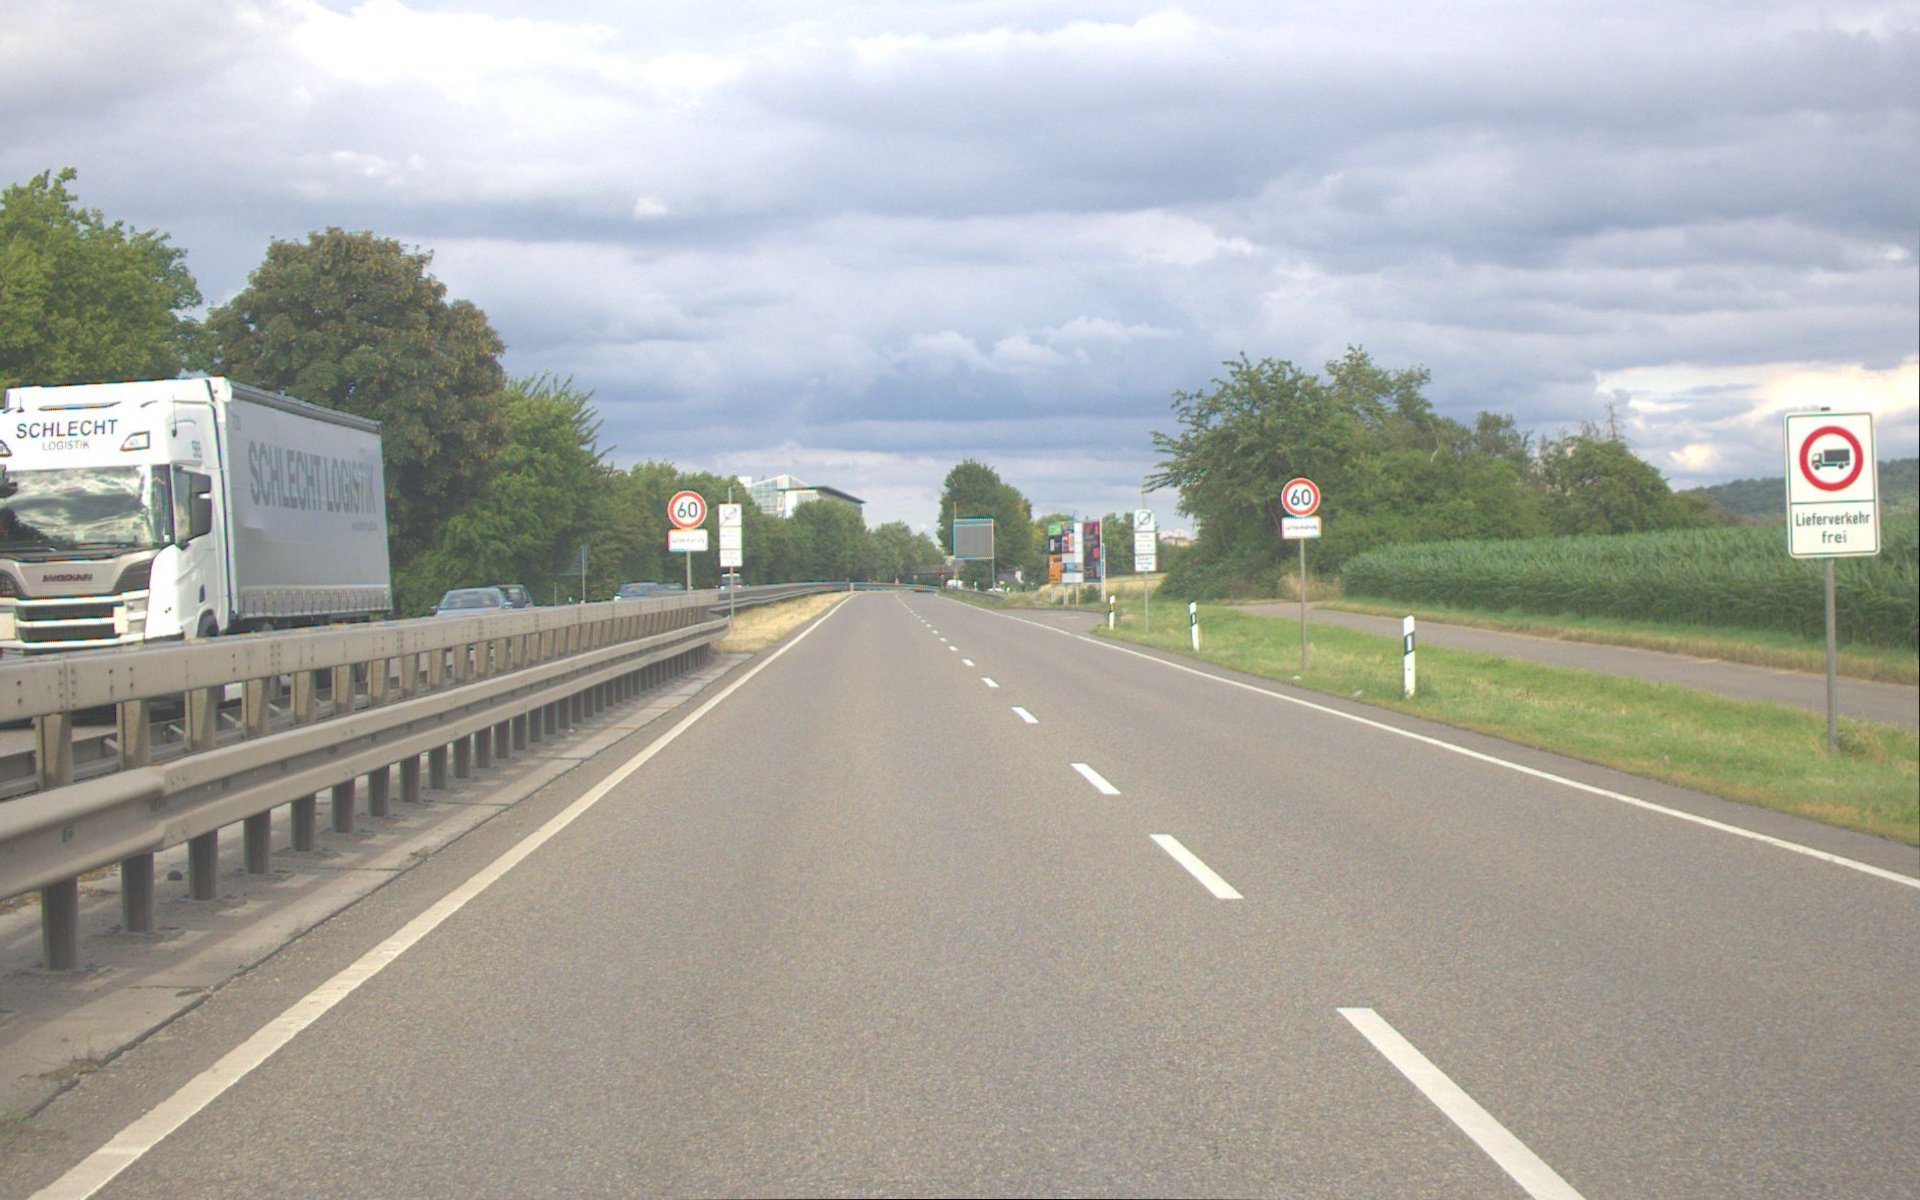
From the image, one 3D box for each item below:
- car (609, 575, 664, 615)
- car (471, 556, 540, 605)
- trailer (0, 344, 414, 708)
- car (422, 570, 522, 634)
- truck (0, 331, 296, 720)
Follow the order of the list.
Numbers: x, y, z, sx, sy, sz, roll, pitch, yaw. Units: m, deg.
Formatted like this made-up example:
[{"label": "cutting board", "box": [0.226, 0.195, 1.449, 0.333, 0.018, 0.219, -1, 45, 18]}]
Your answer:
[{"label": "car", "box": [-13.039, -0.212, 138.677, 1.866, 1.472, 4.826, -2, 1, -2]}, {"label": "car", "box": [-15.138, -0.666, 114.670, 1.789, 1.568, 4.161, -2, 1, -2]}, {"label": "trailer", "box": [-10.316, -0.938, 47.409, 3.465, 4.136, 13.917, -3, 1, -1]}, {"label": "car", "box": [-11.321, 0.032, 79.993, 1.789, 1.381, 4.161, -2, 1, -2]}, {"label": "truck", "box": [-10.168, -0.815, 40.450, 3.474, 4.136, 6.050, -3, 1, -1]}]
